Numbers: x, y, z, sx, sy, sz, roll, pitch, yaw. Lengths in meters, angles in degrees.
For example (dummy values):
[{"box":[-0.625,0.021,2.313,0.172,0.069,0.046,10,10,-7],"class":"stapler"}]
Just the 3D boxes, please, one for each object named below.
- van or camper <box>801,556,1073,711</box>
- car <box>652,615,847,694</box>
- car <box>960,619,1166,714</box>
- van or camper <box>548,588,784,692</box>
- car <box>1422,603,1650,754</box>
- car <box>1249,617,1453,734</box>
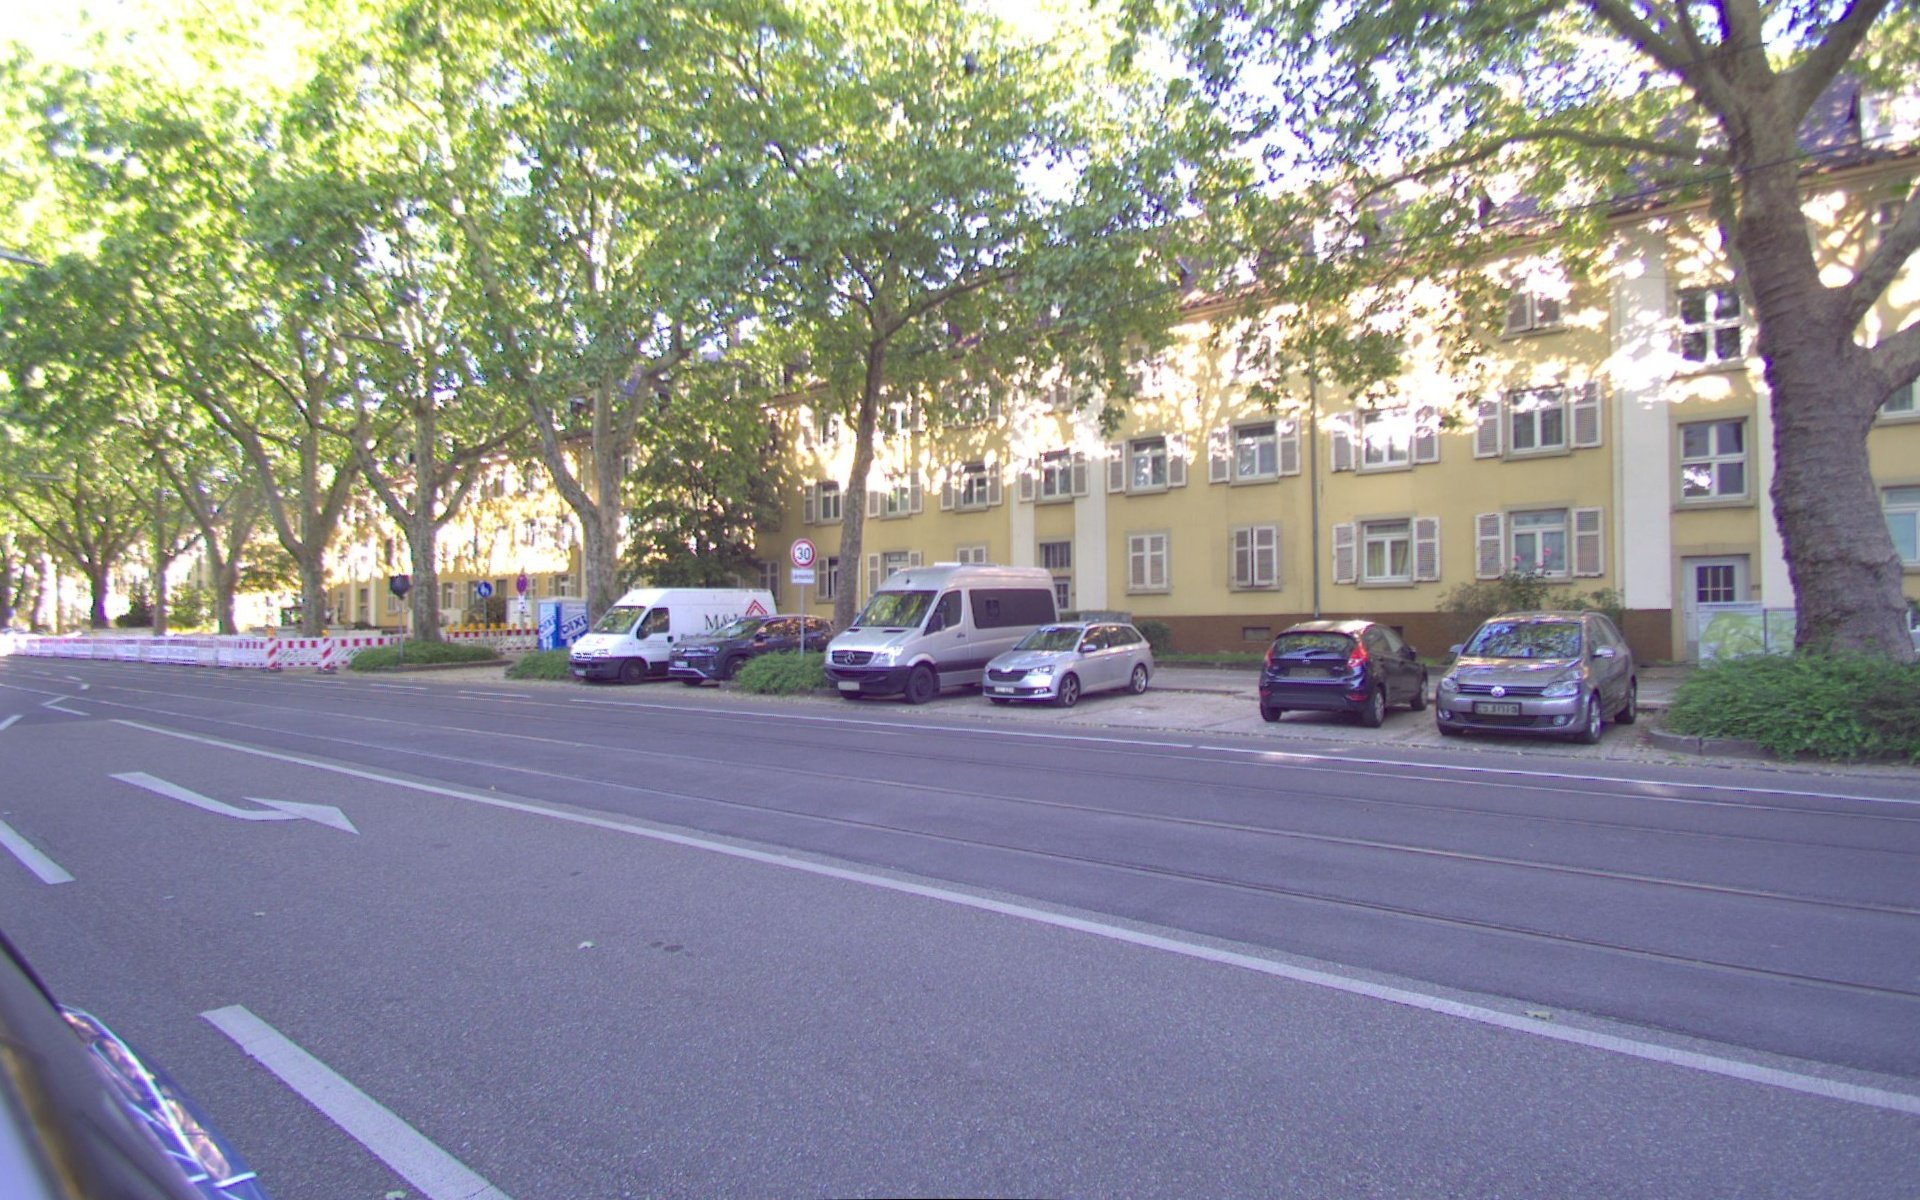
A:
[{"box":[-0.258,0.563,20.335,2.154,2.668,5.857,-1,0,40],"class":"van or camper"},{"box":[-4.962,1.219,24.332,1.693,1.645,4.481,-1,0,41],"class":"car"},{"box":[2.012,1.139,18.777,1.693,1.457,4.221,-1,0,41],"class":"car"},{"box":[-7.477,0.916,26.344,2.154,2.403,5.690,-1,0,40],"class":"van or camper"},{"box":[7.680,0.880,13.319,1.844,1.631,4.028,-1,0,41],"class":"car"},{"box":[6.025,1.028,15.378,1.693,1.457,3.811,-1,0,41],"class":"car"}]
